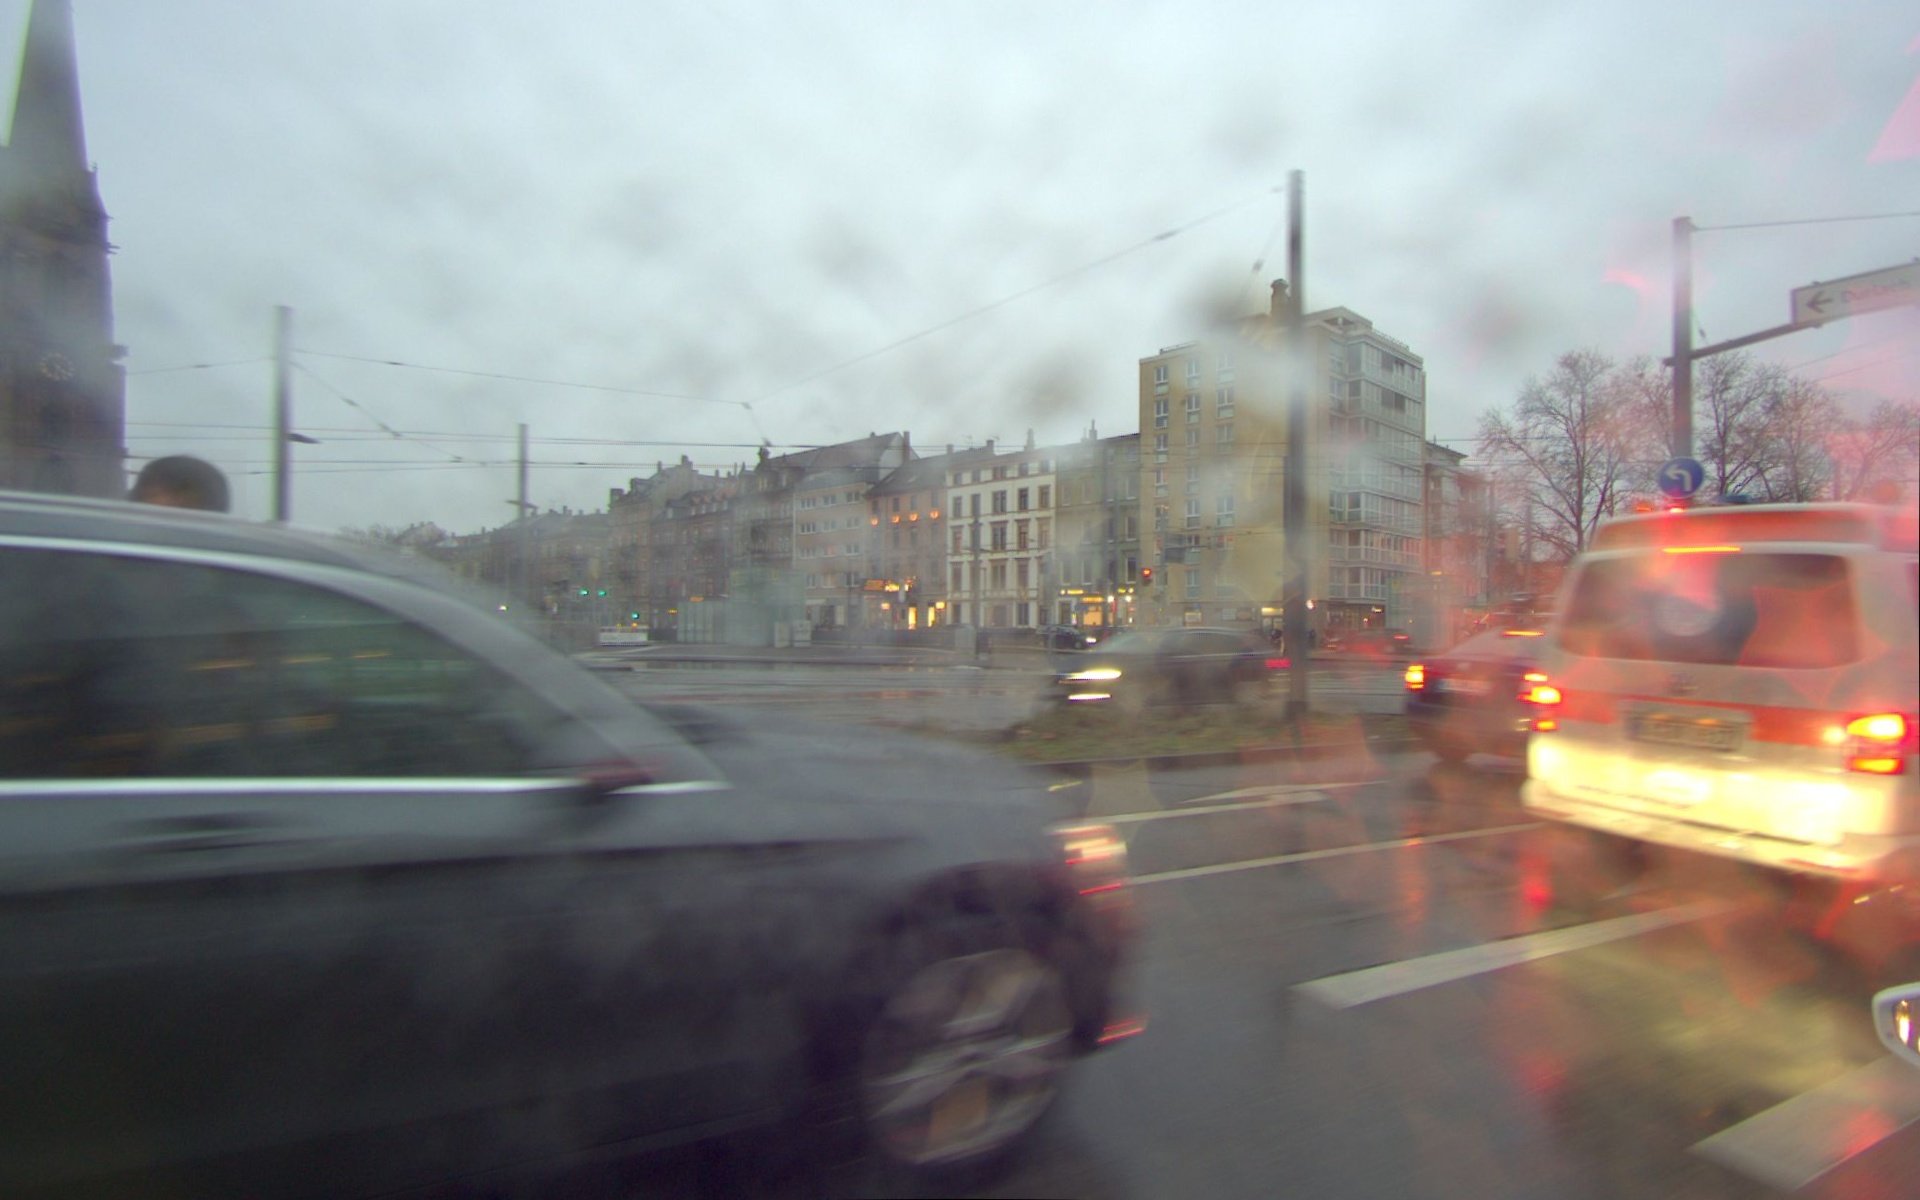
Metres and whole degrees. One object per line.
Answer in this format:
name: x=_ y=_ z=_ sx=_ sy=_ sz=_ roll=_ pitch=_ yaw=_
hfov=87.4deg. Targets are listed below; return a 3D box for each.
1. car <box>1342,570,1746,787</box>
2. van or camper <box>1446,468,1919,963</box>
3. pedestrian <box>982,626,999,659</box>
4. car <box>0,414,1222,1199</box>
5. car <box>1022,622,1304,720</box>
car: x=5.942 y=0.705 z=10.150 sx=3.954 sy=1.795 sz=1.875 roll=2 pitch=-1 yaw=-31
van or camper: x=5.732 y=0.554 z=6.481 sx=4.925 sy=2.137 sz=2.193 roll=2 pitch=0 yaw=-28
pedestrian: x=1.592 y=2.233 z=52.992 sx=0.686 sy=1.718 sz=0.574 roll=-1 pitch=-2 yaw=42
car: x=-1.654 y=0.520 z=2.411 sx=4.490 sy=1.622 sz=1.776 roll=2 pitch=1 yaw=-32
car: x=3.519 y=1.149 z=17.079 sx=4.769 sy=1.438 sz=1.796 roll=2 pitch=-1 yaw=-32
